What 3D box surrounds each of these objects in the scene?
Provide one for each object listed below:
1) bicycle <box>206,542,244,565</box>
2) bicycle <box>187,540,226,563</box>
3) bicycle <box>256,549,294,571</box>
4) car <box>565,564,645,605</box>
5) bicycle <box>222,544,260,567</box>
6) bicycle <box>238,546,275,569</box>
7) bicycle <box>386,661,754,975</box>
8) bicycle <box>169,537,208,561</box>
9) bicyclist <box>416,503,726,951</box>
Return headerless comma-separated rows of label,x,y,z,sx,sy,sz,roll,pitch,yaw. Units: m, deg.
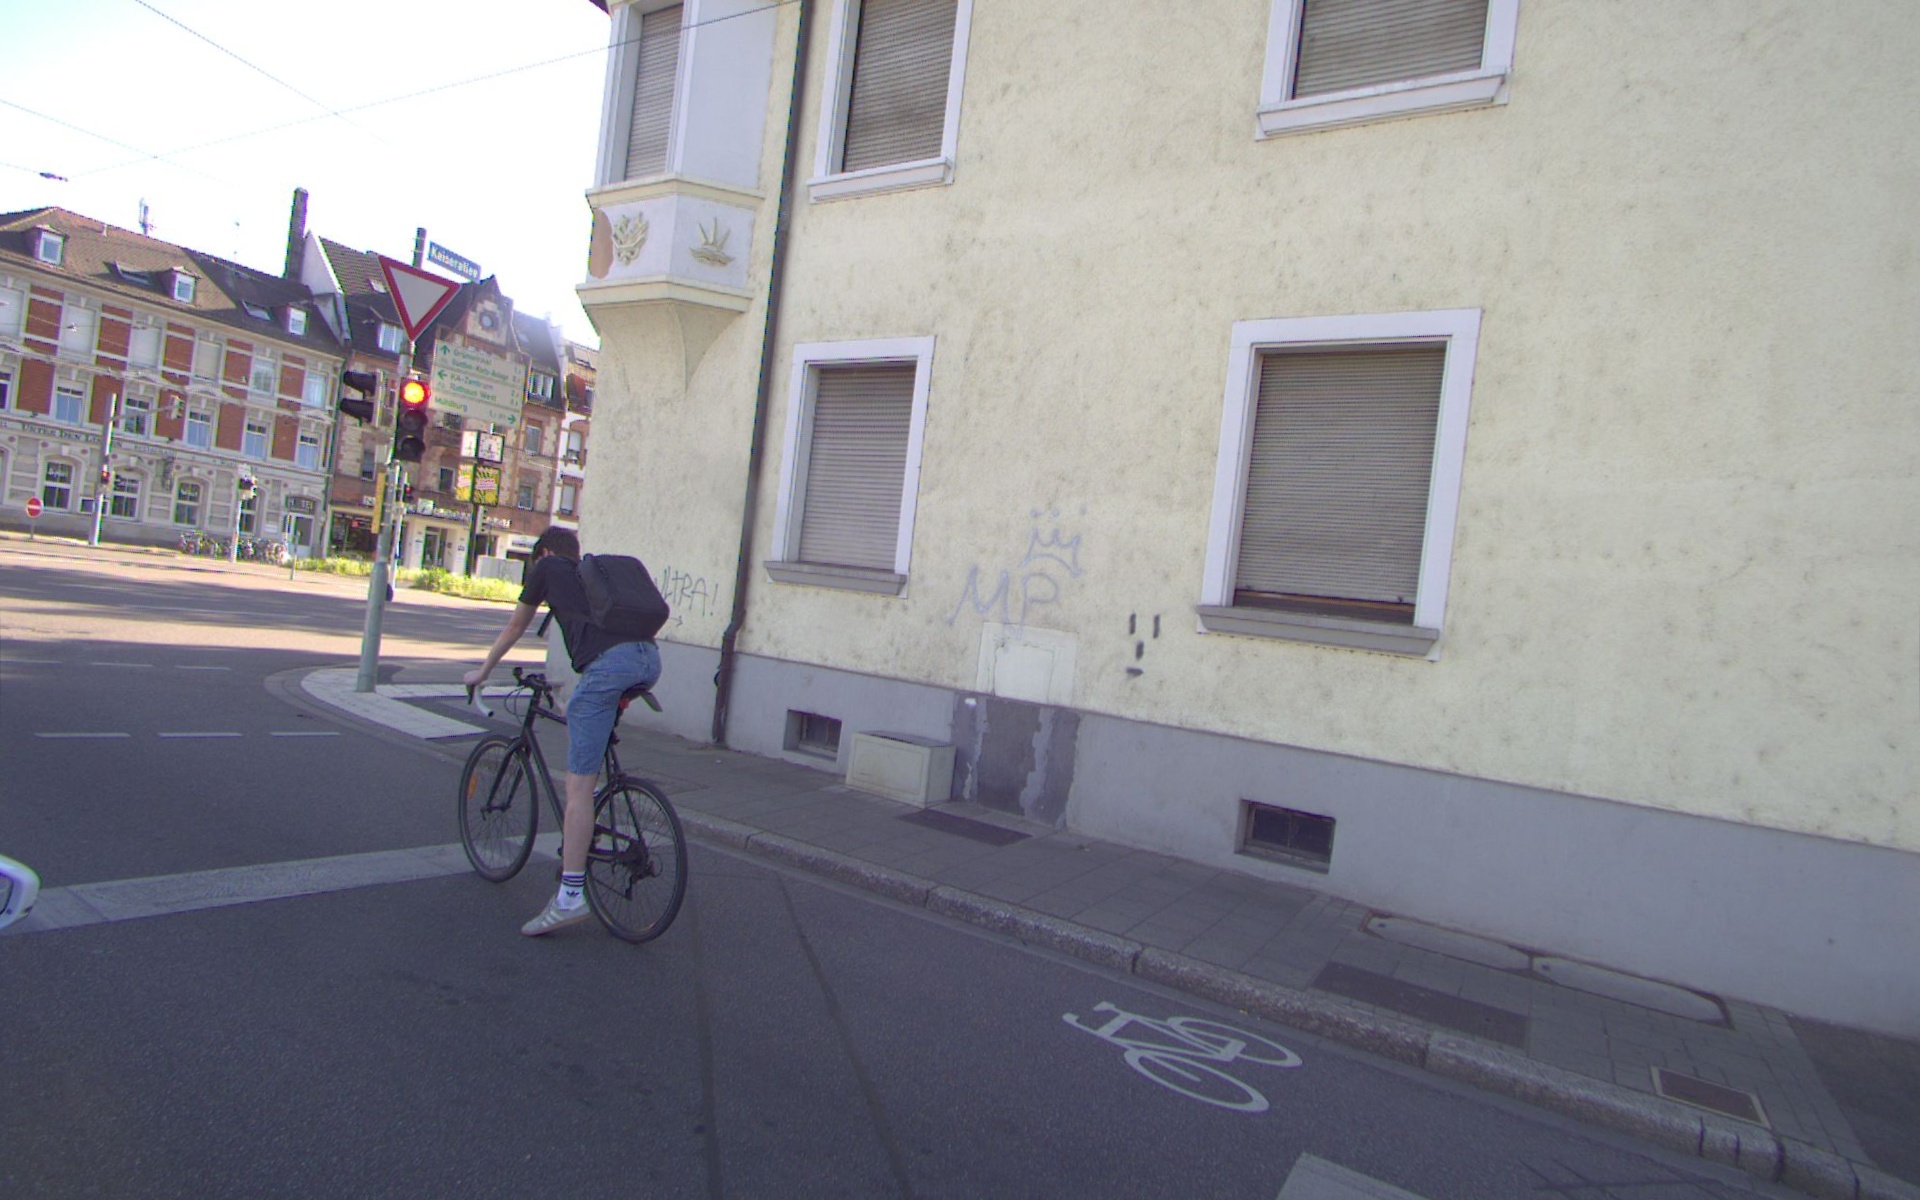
bicycle,-34.186,-2.158,46.768,2.125,0.850,0.659,6,-2,33
bicycle,-34.559,-2.232,46.147,2.125,0.850,0.659,6,-2,33
bicycle,-33.109,-1.943,48.600,2.125,0.850,0.659,6,-2,33
car,-23.020,-0.999,65.327,1.968,2.038,4.430,7,-1,34
bicycle,-33.852,-2.090,47.365,2.125,0.850,0.659,6,-2,33
bicycle,-33.497,-2.022,47.895,2.125,0.850,0.659,6,-2,33
bicycle,-1.794,0.879,4.512,1.721,0.982,0.519,7,0,32
bicycle,-34.876,-2.300,45.480,2.125,0.850,0.659,6,-2,33
bicyclist,-1.746,0.495,4.491,1.098,1.722,0.573,7,0,32
